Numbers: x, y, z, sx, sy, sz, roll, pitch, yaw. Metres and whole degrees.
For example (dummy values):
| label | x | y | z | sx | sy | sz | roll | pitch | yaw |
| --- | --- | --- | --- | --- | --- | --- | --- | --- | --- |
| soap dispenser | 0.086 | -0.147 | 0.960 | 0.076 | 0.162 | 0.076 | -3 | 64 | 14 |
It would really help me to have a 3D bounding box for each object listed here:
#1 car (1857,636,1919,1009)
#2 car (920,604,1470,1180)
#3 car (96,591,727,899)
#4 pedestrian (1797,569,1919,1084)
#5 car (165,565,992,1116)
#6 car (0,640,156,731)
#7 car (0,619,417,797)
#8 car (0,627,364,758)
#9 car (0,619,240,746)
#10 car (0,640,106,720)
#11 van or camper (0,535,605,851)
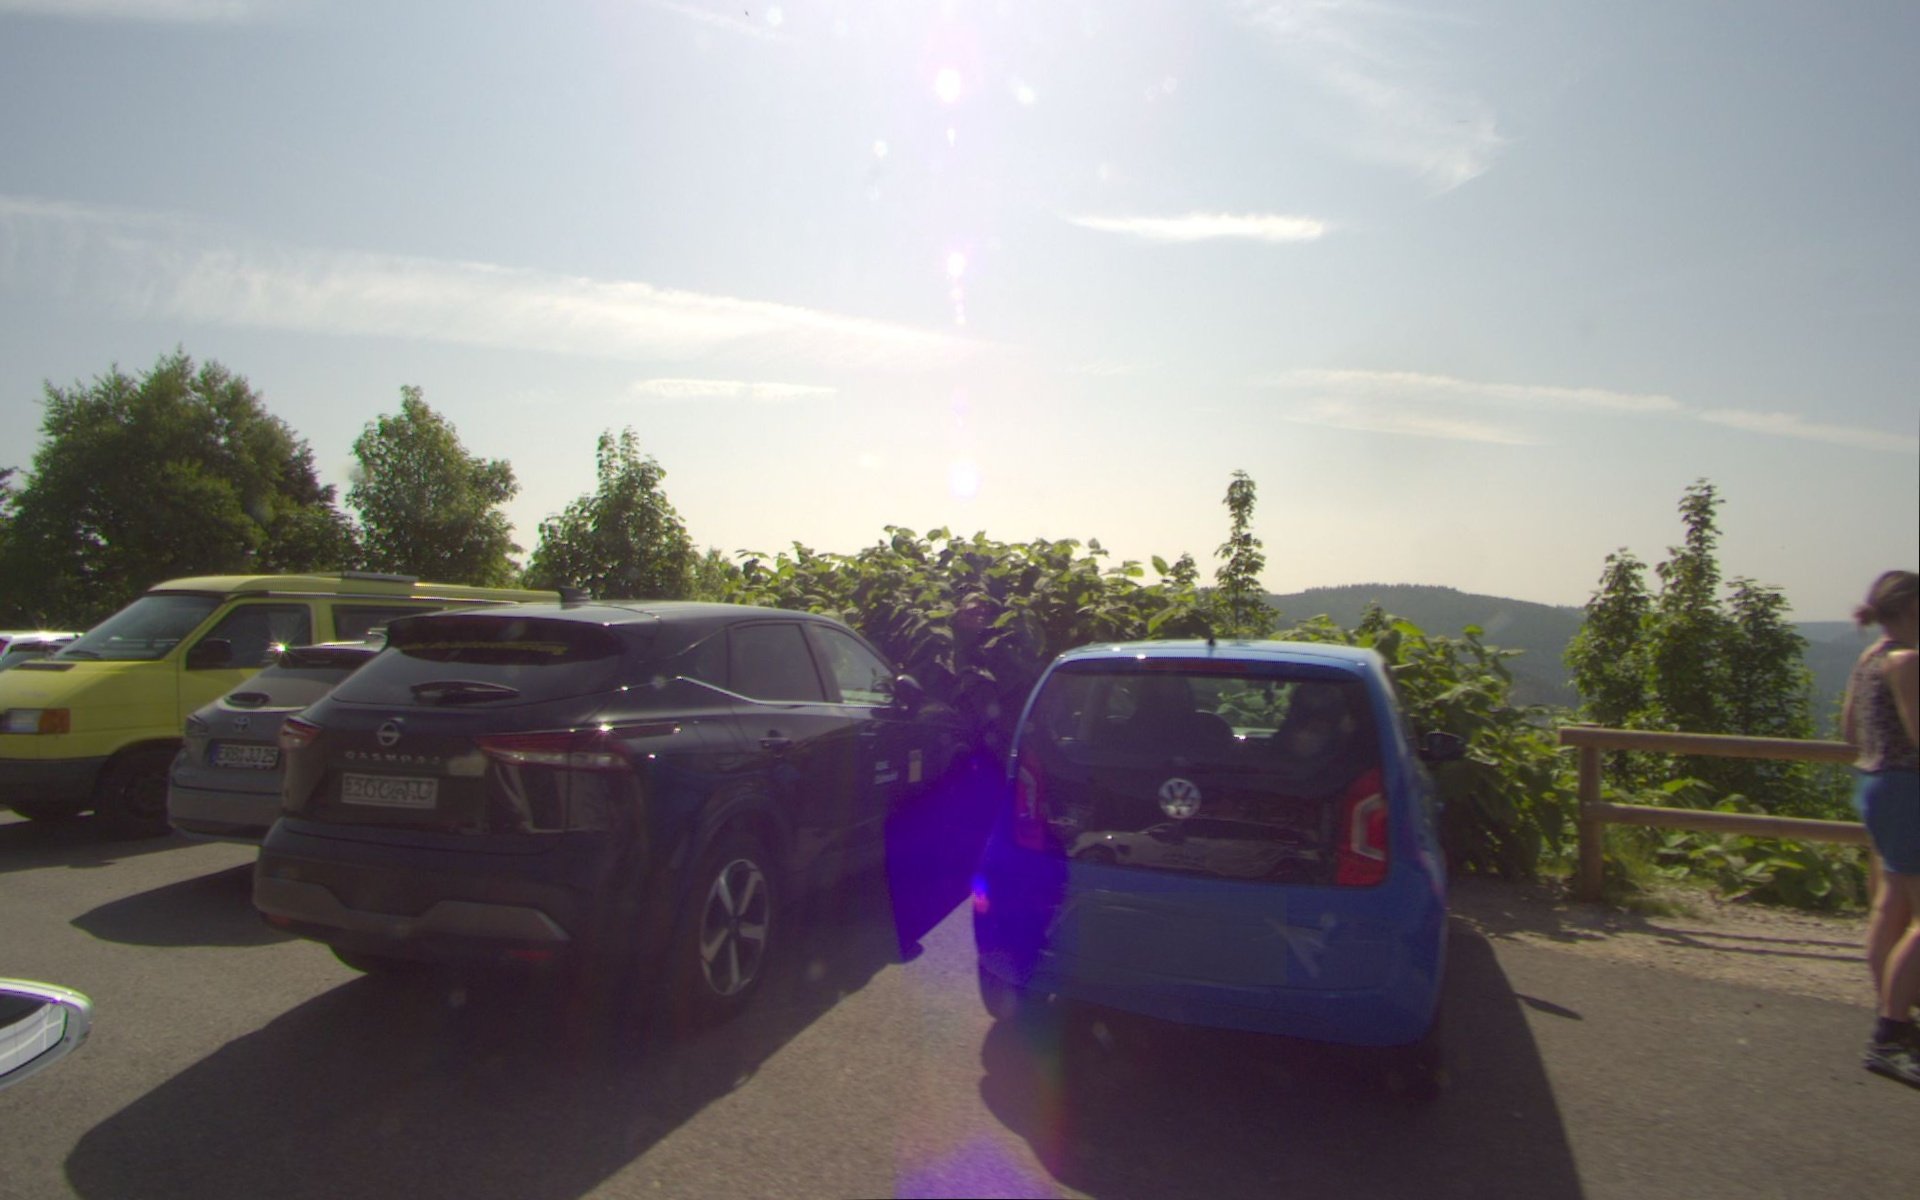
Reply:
| label | x | y | z | sx | sy | sz | roll | pitch | yaw |
| --- | --- | --- | --- | --- | --- | --- | --- | --- | --- |
| car | 4.440 | 0.843 | 2.362 | 1.808 | 1.528 | 3.999 | 1 | -3 | 14 |
| car | 1.363 | 0.882 | 4.644 | 1.621 | 1.514 | 3.584 | 0 | -3 | 25 |
| car | -3.544 | 0.852 | 7.489 | 1.674 | 1.609 | 4.162 | 0 | -2 | 16 |
| pedestrian | 3.528 | 0.781 | 3.625 | 0.556 | 1.746 | 0.505 | 0 | -3 | 11 |
| car | -1.316 | 0.806 | 5.189 | 1.882 | 1.634 | 3.995 | 0 | -2 | 19 |
| car | -16.506 | 1.473 | 17.556 | 1.630 | 1.476 | 3.811 | 0 | -4 | 1 |
| car | -8.606 | 1.007 | 11.203 | 1.781 | 1.507 | 4.354 | 0 | 0 | 21 |
| car | -10.640 | 1.190 | 13.801 | 1.907 | 1.519 | 4.100 | -1 | -3 | 11 |
| car | -13.422 | 1.225 | 15.101 | 1.855 | 1.669 | 4.190 | 0 | -4 | 4 |
| car | -18.728 | 1.516 | 18.929 | 1.858 | 1.478 | 4.056 | 0 | -4 | -4 |
| van or camper | -5.879 | 0.767 | 9.157 | 1.852 | 2.038 | 5.094 | 0 | -4 | 26 |
